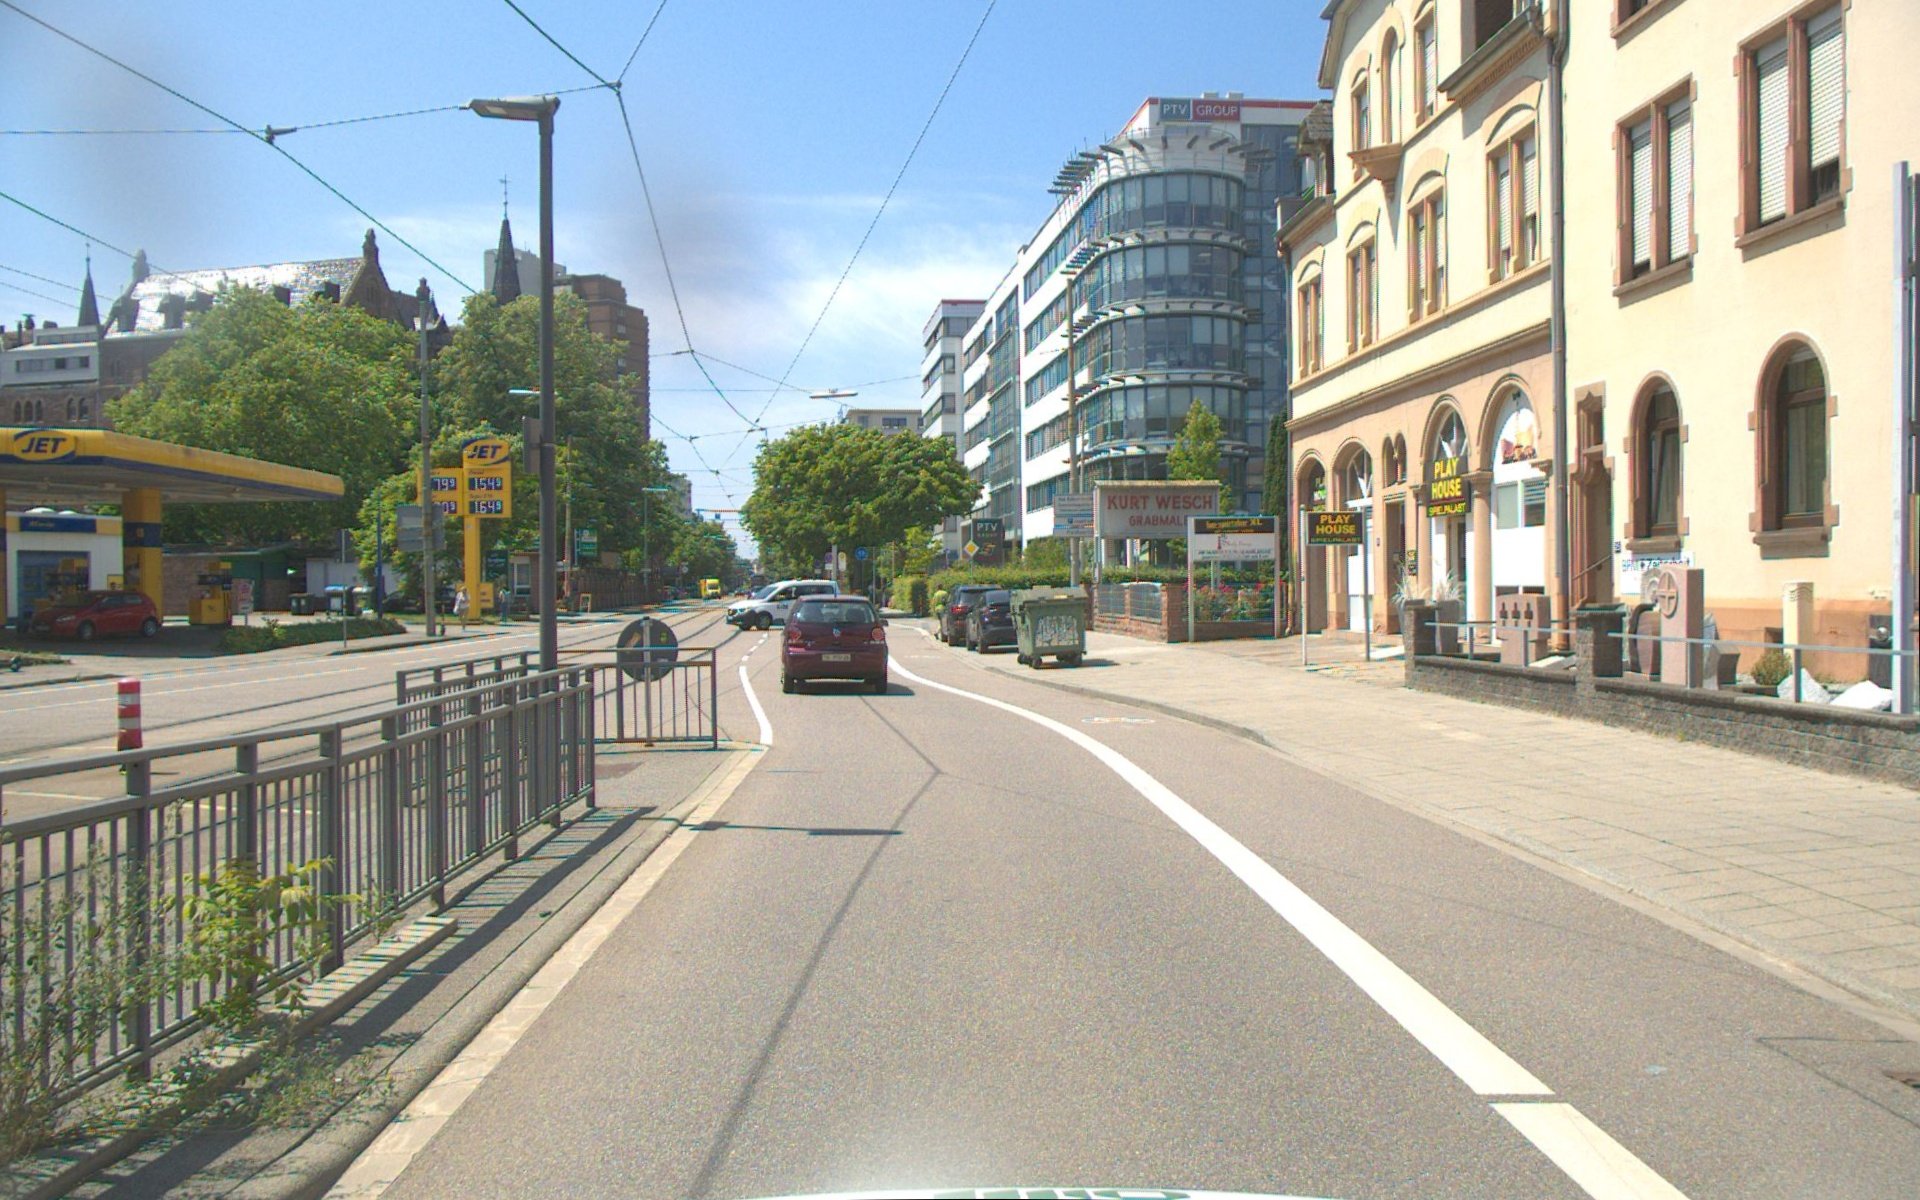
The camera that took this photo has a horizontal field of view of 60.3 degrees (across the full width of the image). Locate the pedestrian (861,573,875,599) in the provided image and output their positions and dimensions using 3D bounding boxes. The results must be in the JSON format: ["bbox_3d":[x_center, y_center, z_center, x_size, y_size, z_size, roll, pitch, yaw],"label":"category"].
[{"bbox_3d":[-6.468,-0.994,116.400,0.673,1.828,0.665,-3,0,-38],"label":"pedestrian"}]

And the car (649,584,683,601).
[{"bbox_3d":[-37.131,-0.972,208.900,3.907,2.049,1.999,-1,0,-3],"label":"car"}]

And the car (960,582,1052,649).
[{"bbox_3d":[1.121,0.372,42.791,1.738,1.575,4.461,-2,0,-6],"label":"car"}]

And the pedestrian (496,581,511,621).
[{"bbox_3d":[-20.463,0.041,74.176,0.569,1.806,0.698,1,0,-10],"label":"pedestrian"}]

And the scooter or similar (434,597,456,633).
[{"bbox_3d":[-17.997,0.530,57.807,0.509,1.221,1.374,1,0,-9],"label":"scooter or similar"}]

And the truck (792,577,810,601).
[{"bbox_3d":[-17.999,-1.246,187.342,1.955,2.708,4.868,1,1,-7],"label":"truck"}]

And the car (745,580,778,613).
[{"bbox_3d":[-12.712,-0.264,105.804,1.957,2.049,3.992,1,1,-9],"label":"car"}]

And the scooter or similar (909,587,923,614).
[{"bbox_3d":[-2.023,0.026,75.402,0.319,1.244,1.153,1,0,14],"label":"scooter or similar"}]

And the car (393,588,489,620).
[{"bbox_3d":[-26.184,0.192,83.546,1.895,1.514,4.439,1,1,33],"label":"car"}]

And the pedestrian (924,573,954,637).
[{"bbox_3d":[-0.668,0.153,52.333,0.769,1.994,0.586,-1,0,-22],"label":"pedestrian"}]

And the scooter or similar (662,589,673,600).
[{"bbox_3d":[-32.225,-0.617,182.325,1.076,1.175,0.522,0,0,-28],"label":"scooter or similar"}]

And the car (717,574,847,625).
[{"bbox_3d":[-6.684,-0.030,62.105,4.487,1.831,1.981,-1,1,-29],"label":"car"}]

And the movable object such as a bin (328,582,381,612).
[{"bbox_3d":[-30.353,-0.138,82.937,1.489,1.457,2.101,1,1,18],"label":"movable object such as a bin"}]

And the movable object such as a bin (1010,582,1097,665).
[{"bbox_3d":[1.762,0.432,31.355,1.367,1.480,1.136,-3,1,-10],"label":"movable object such as a bin"}]

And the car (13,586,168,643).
[{"bbox_3d":[-26.626,0.409,50.810,1.787,1.531,4.202,2,2,16],"label":"car"}]

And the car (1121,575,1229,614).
[{"bbox_3d":[8.644,-0.229,66.739,4.066,1.485,1.817,-1,1,-3],"label":"car"}]

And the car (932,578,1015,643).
[{"bbox_3d":[0.333,0.270,48.954,1.887,1.722,5.076,-2,1,-5],"label":"car"}]

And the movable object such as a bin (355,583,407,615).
[{"bbox_3d":[-28.847,-0.038,82.459,1.489,1.535,2.101,1,1,18],"label":"movable object such as a bin"}]

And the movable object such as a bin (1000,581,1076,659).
[{"bbox_3d":[1.571,0.398,33.533,1.299,1.480,1.055,-3,1,-10],"label":"movable object such as a bin"}]

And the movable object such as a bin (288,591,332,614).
[{"bbox_3d":[-32.679,0.116,83.137,1.375,1.157,1.565,1,1,18],"label":"movable object such as a bin"}]

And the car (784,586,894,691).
[{"bbox_3d":[-1.957,0.547,26.142,1.588,1.512,3.995,1,1,-6],"label":"car"}]

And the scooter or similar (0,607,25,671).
[{"bbox_3d":[-19.729,0.798,33.727,0.337,1.286,1.242,1,0,18],"label":"scooter or similar"}]

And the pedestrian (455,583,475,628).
[{"bbox_3d":[-19.407,0.210,64.853,0.613,1.720,0.721,-1,0,-8],"label":"pedestrian"}]

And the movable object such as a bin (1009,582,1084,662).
[{"bbox_3d":[1.689,0.420,32.467,1.225,1.480,1.055,-3,1,-10],"label":"movable object such as a bin"}]
